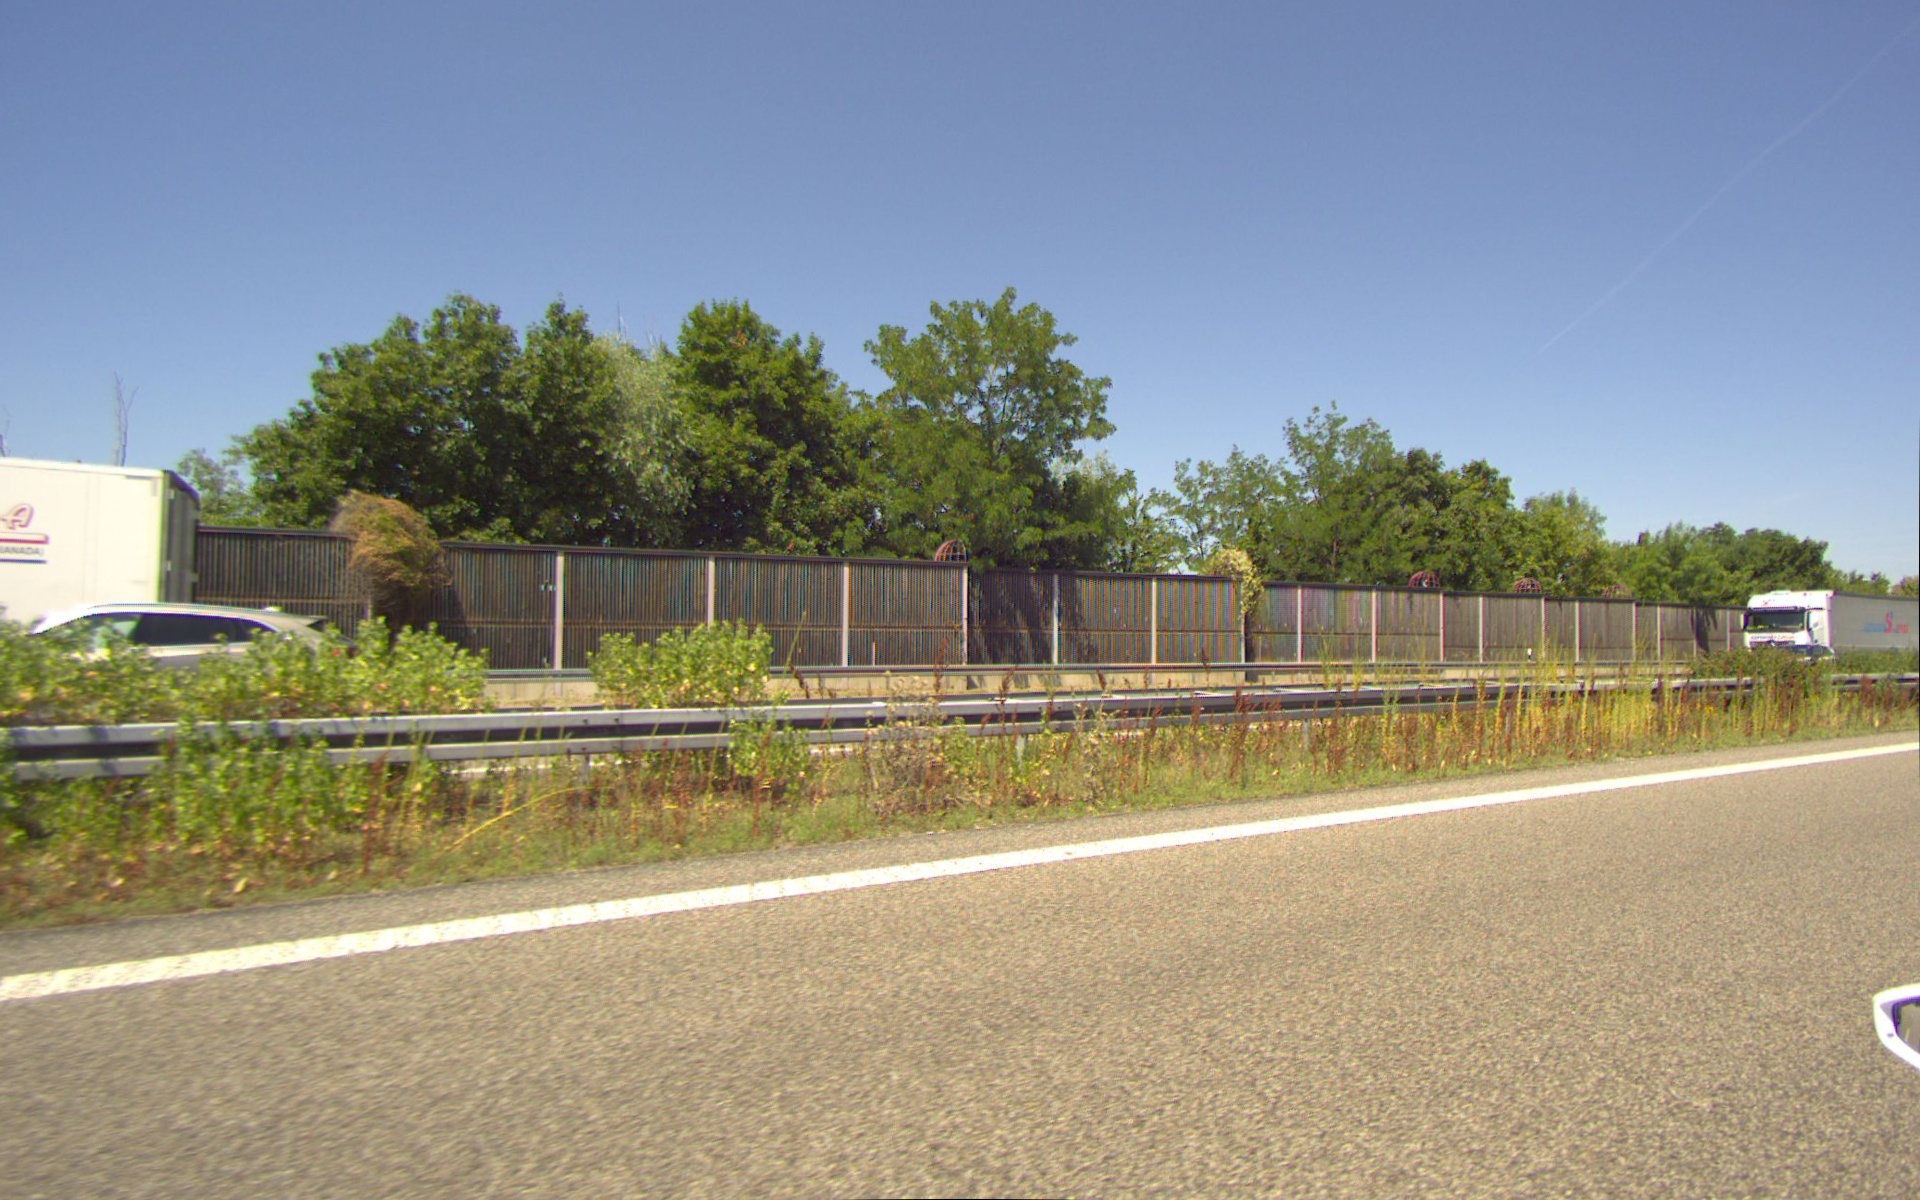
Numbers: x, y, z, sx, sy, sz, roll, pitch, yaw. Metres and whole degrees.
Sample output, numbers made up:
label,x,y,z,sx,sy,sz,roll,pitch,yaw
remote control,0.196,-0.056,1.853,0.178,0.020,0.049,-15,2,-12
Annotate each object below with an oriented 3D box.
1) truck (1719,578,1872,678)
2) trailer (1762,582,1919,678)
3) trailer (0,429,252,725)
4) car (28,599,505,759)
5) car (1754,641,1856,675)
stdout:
label,x,y,z,sx,sy,sz,roll,pitch,yaw
truck,40.346,1.375,48.453,7.778,4.498,3.202,2,-1,-30
trailer,46.262,1.587,51.886,12.800,4.537,3.151,2,-1,-30
trailer,-17.665,-0.378,13.741,12.645,4.157,3.594,2,-2,-30
car,-7.965,0.868,12.069,4.387,1.617,1.814,2,-2,-30
car,31.213,2.126,37.088,4.031,1.171,1.618,2,-1,-30
